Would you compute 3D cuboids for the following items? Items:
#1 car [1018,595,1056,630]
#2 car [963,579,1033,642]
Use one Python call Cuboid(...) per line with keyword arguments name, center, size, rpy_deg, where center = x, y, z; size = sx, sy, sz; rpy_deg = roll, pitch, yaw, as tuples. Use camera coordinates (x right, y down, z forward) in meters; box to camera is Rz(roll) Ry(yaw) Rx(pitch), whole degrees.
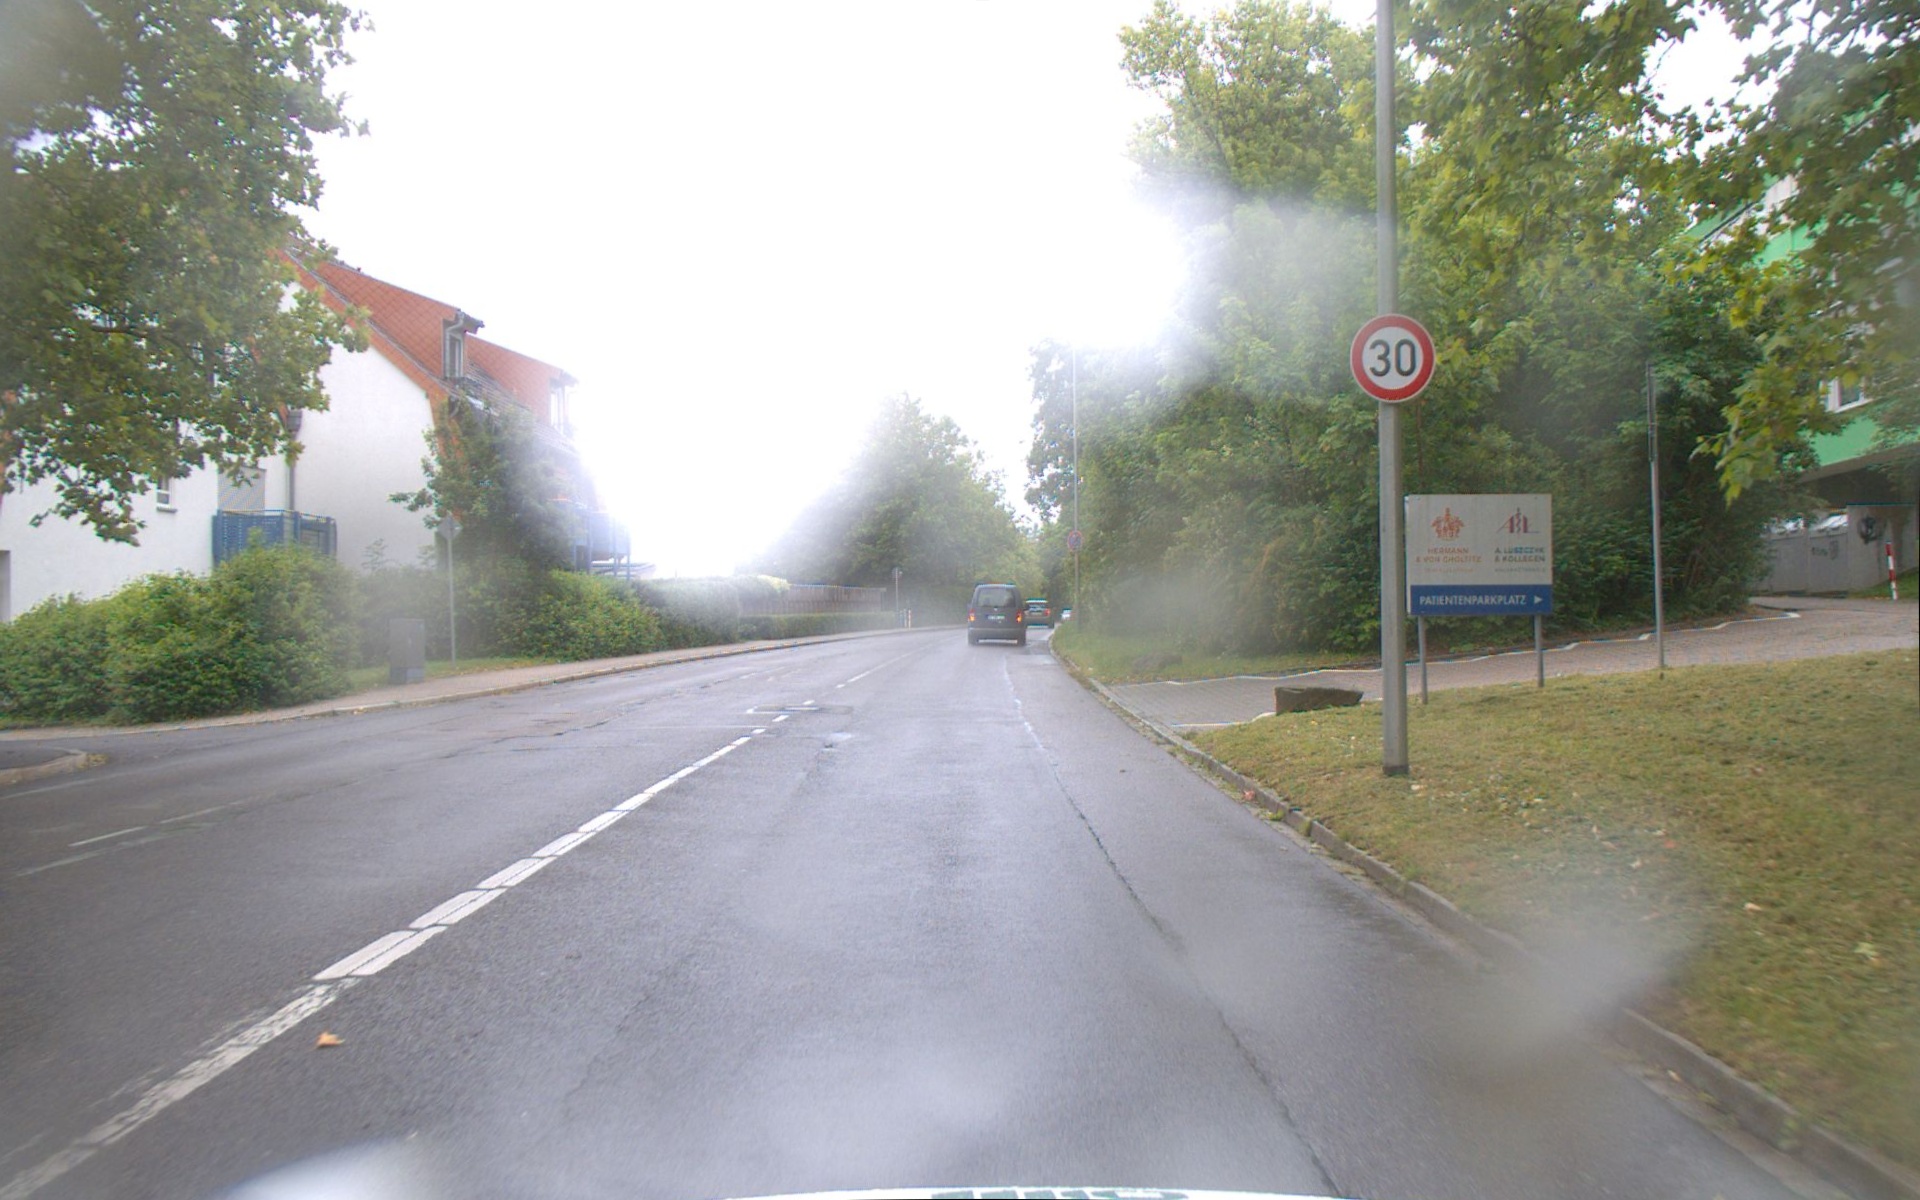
Cuboid(name="car", center=(4.109, 0.656, 88.014), size=(1.909, 1.780, 4.002), rpy_deg=(-1, 0, 4))
Cuboid(name="car", center=(1.142, 0.290, 51.623), size=(1.953, 1.825, 3.999), rpy_deg=(2, 0, -2))
